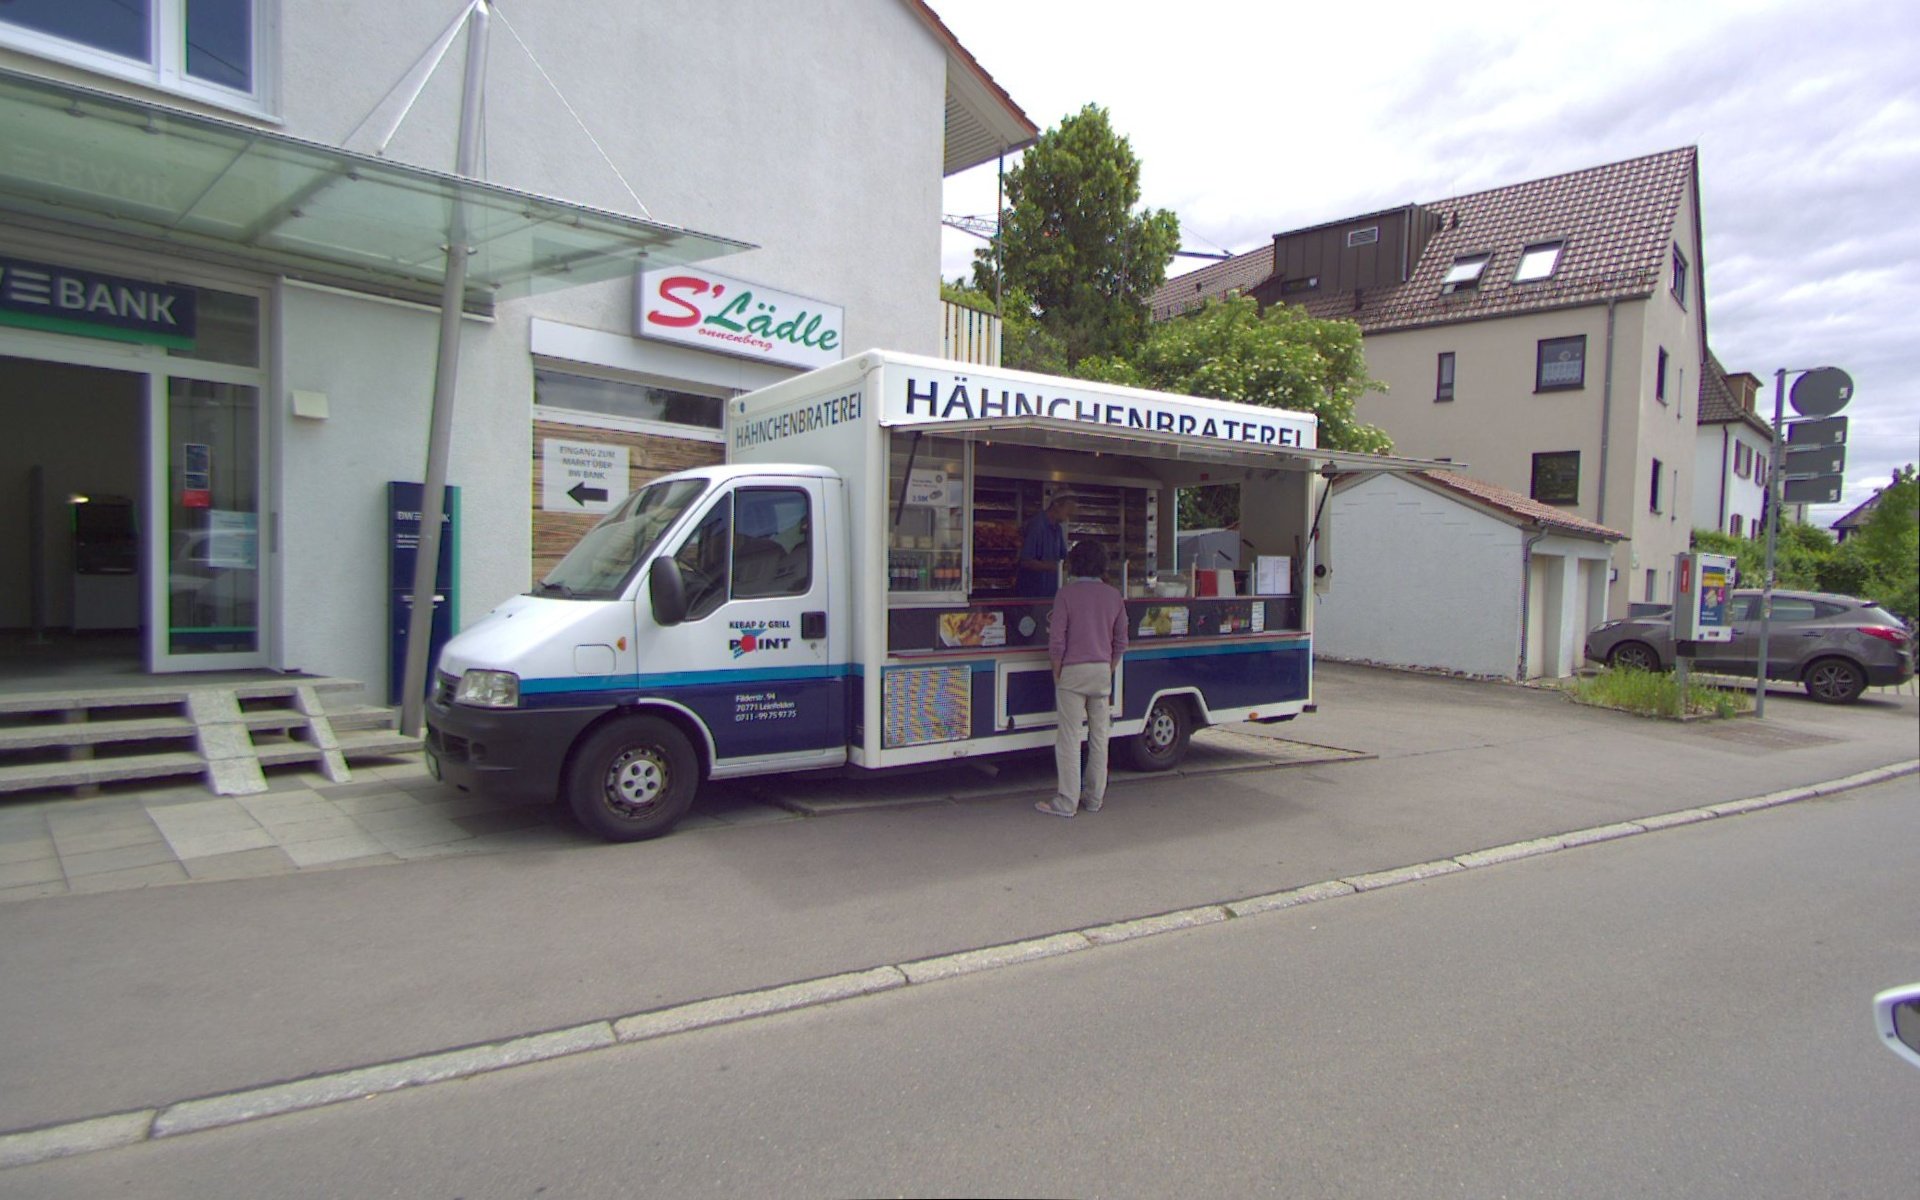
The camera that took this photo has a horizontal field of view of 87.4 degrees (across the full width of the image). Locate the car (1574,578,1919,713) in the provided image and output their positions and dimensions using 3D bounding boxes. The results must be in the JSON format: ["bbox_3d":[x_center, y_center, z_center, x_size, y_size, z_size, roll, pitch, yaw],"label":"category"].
[{"bbox_3d":[13.044,0.637,16.872,1.785,1.718,4.269,0,4,-43],"label":"car"}]

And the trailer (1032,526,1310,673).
[{"bbox_3d":[3.446,-0.160,17.430,1.687,2.109,4.829,-1,5,-35],"label":"trailer"}]

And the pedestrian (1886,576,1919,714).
[{"bbox_3d":[14.411,0.679,14.744,1.203,1.972,0.729,1,4,-29],"label":"pedestrian"}]

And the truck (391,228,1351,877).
[{"bbox_3d":[-0.256,-0.195,7.380,6.639,2.879,2.457,1,2,-35],"label":"truck"}]

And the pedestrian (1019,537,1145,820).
[{"bbox_3d":[0.778,0.477,6.413,0.591,1.718,0.398,1,4,-35],"label":"pedestrian"}]
